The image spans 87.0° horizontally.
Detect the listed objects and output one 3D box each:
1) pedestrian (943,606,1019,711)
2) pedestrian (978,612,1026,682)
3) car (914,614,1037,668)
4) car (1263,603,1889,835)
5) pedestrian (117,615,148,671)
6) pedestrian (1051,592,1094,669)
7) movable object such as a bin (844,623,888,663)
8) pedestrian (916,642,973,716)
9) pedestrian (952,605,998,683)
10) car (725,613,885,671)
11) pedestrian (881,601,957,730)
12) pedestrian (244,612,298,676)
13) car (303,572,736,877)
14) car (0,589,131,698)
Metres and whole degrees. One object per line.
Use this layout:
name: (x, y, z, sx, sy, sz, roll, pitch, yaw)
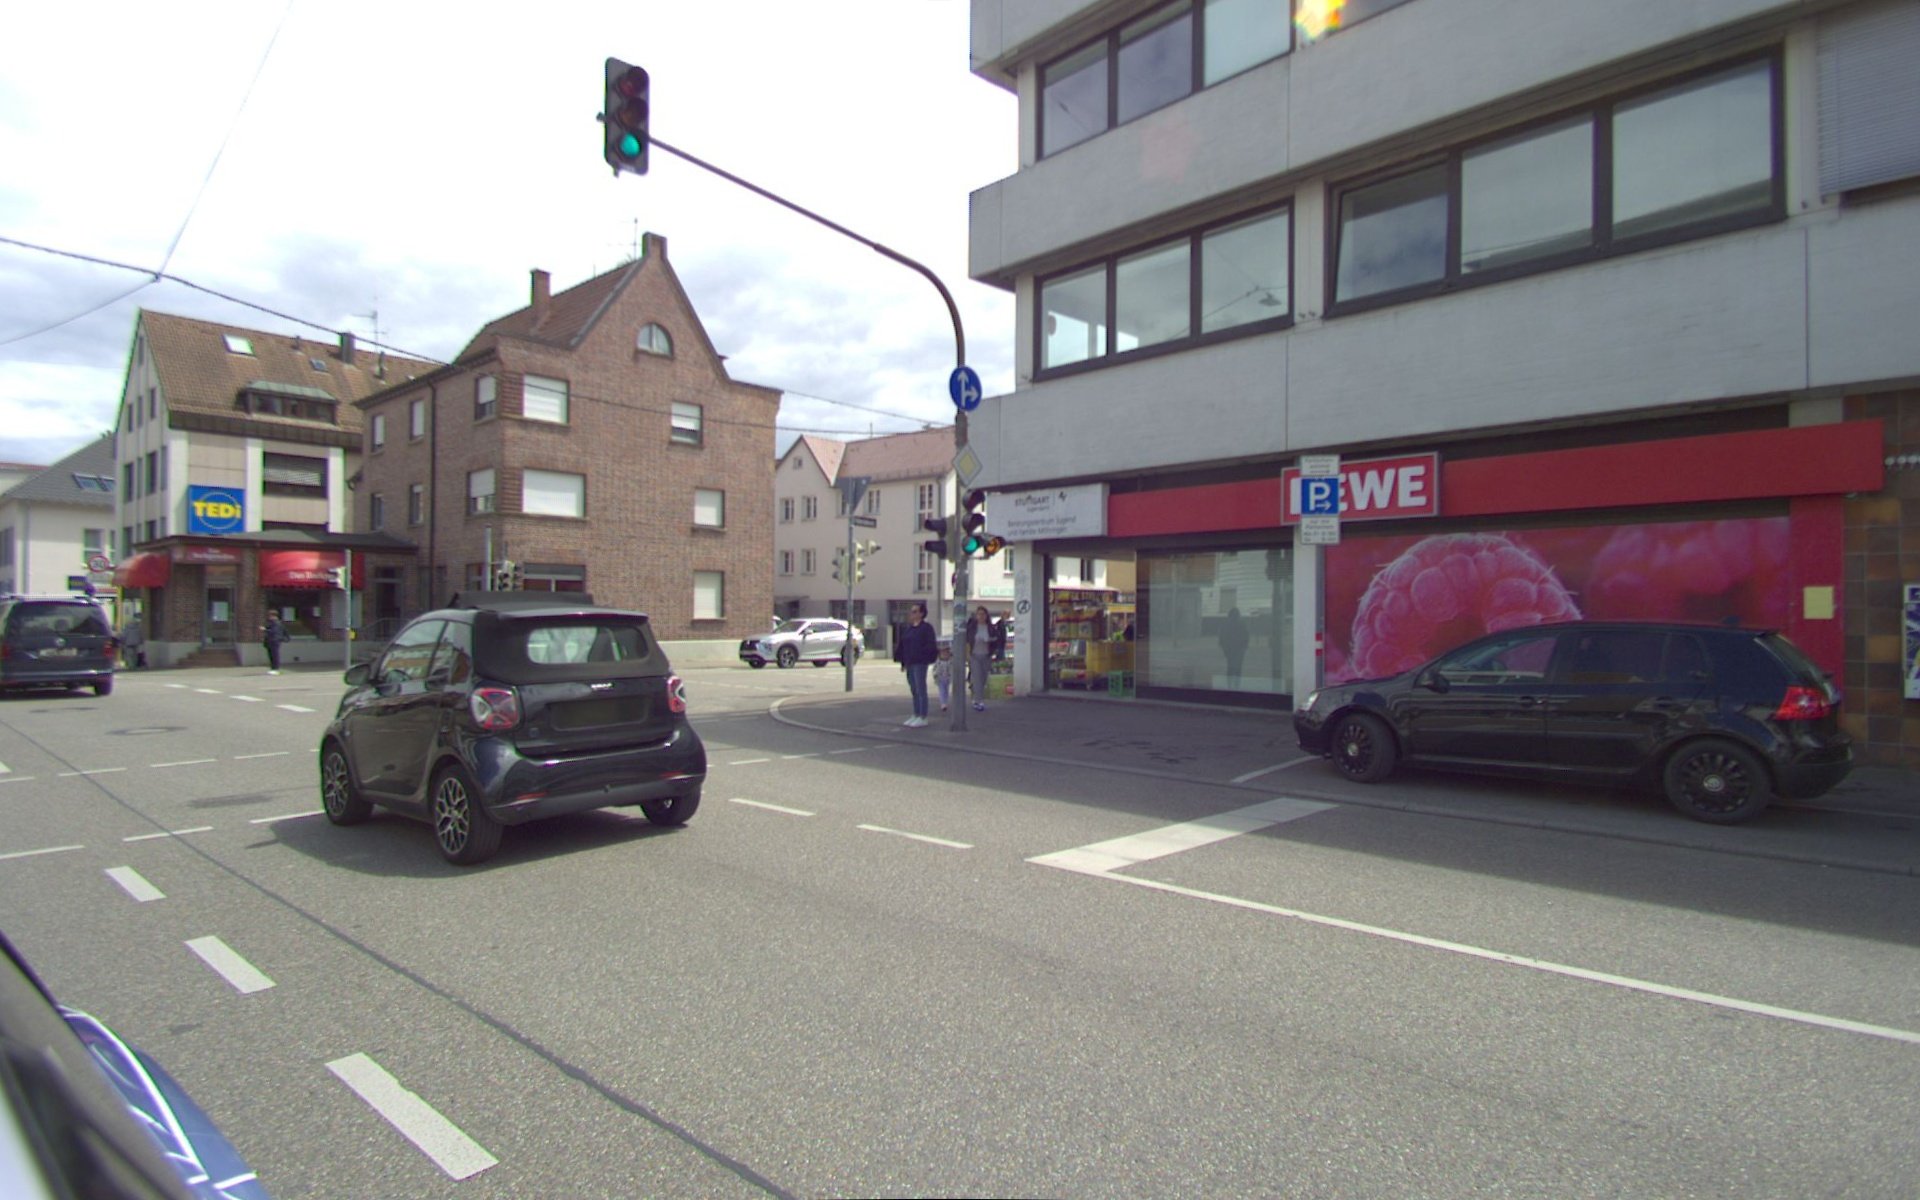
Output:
pedestrian: (0.329, 0.891, 15.849, 0.809, 1.566, 0.846, 0, -1, -43)
pedestrian: (1.028, 1.139, 24.906, 0.833, 1.663, 0.822, 0, -1, -45)
car: (0.605, 1.432, 35.424, 1.999, 1.768, 4.291, -1, -3, 41)
car: (5.082, 0.809, 8.732, 4.285, 1.486, 2.022, -2, -1, 43)
pedestrian: (-25.952, 1.341, 31.740, 0.674, 1.729, 0.878, 2, -3, -43)
pedestrian: (2.626, 0.712, 23.564, 0.815, 1.753, 0.840, -1, -1, 20)
movable object such as a bin: (-4.030, 1.833, 43.631, 1.145, 1.637, 1.498, -1, 0, 44)
pedestrian: (-0.235, 1.196, 15.520, 0.552, 1.065, 0.663, 0, -1, -43)
pedestrian: (0.348, 1.006, 23.291, 0.815, 1.753, 0.840, -1, -1, 21)
car: (-5.103, 1.396, 33.918, 2.001, 1.782, 5.184, -3, -3, 44)
pedestrian: (-0.549, 0.855, 13.549, 0.709, 1.657, 0.682, 0, -1, -44)
pedestrian: (-18.979, 1.205, 27.883, 0.839, 1.736, 0.907, 0, -2, 0)
car: (-3.114, 0.716, 7.034, 2.831, 1.648, 1.660, -1, -2, 40)
car: (-17.914, 0.804, 19.667, 4.873, 1.891, 1.928, -1, -2, 40)
